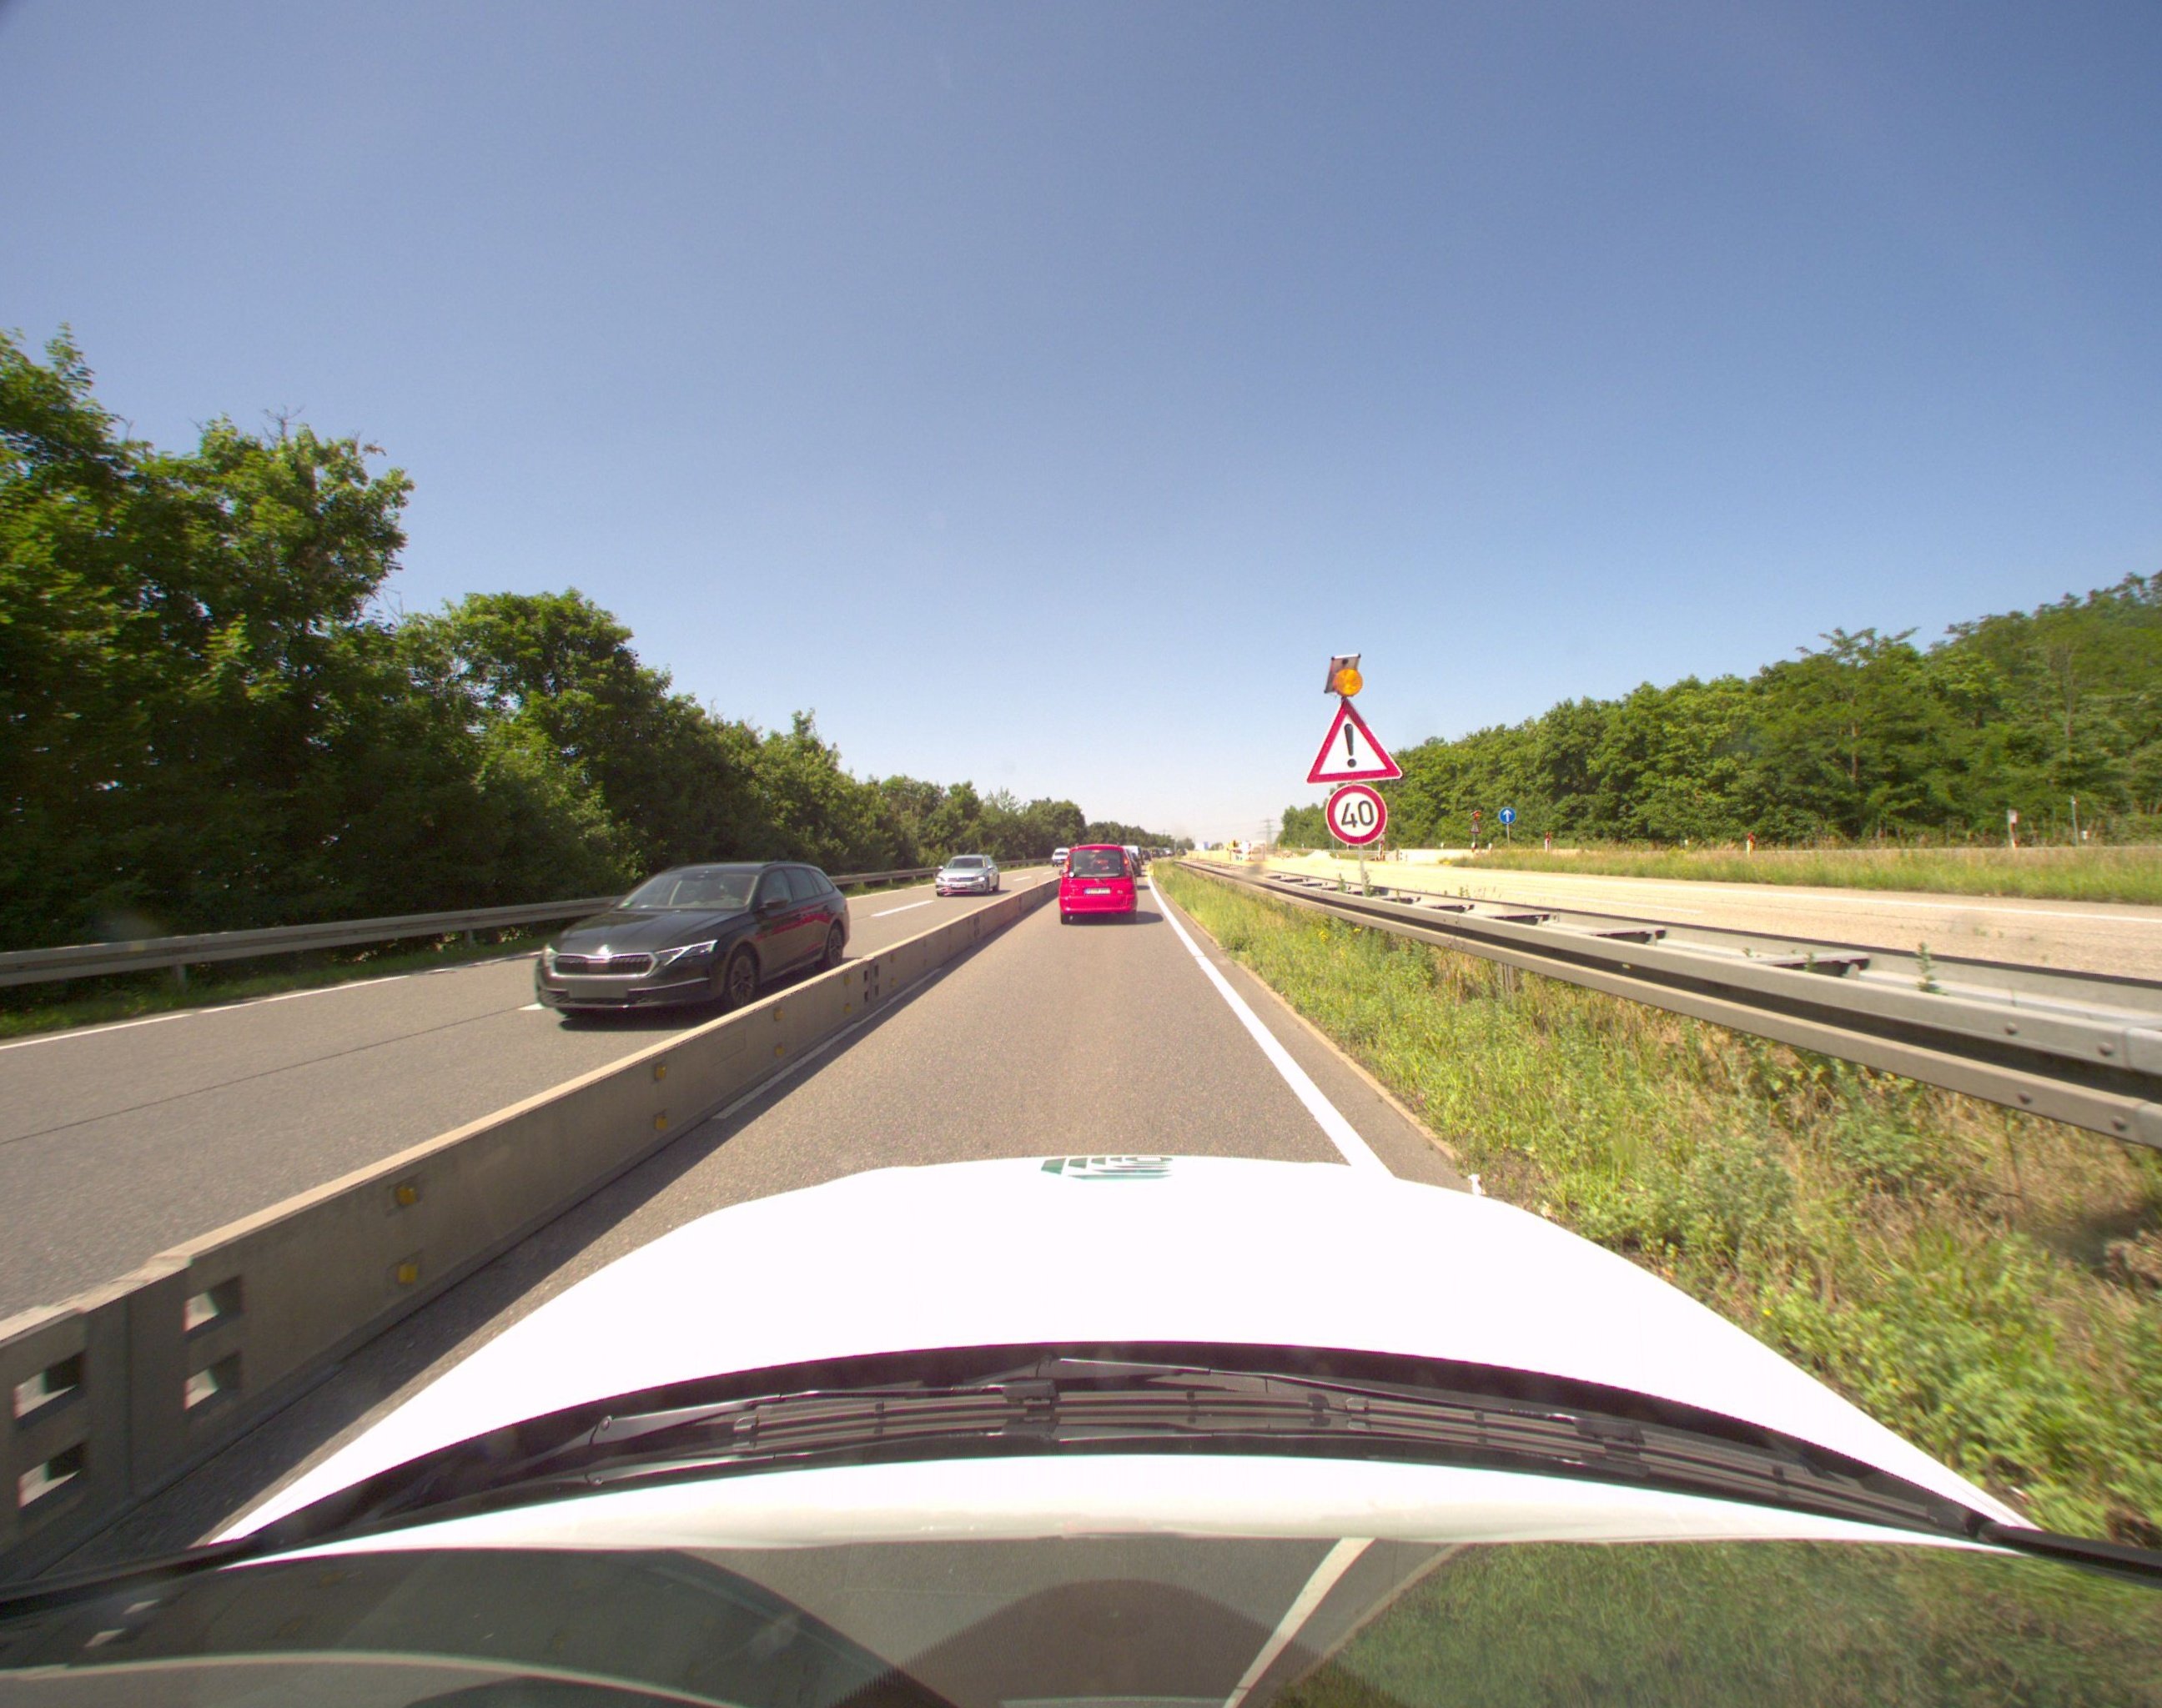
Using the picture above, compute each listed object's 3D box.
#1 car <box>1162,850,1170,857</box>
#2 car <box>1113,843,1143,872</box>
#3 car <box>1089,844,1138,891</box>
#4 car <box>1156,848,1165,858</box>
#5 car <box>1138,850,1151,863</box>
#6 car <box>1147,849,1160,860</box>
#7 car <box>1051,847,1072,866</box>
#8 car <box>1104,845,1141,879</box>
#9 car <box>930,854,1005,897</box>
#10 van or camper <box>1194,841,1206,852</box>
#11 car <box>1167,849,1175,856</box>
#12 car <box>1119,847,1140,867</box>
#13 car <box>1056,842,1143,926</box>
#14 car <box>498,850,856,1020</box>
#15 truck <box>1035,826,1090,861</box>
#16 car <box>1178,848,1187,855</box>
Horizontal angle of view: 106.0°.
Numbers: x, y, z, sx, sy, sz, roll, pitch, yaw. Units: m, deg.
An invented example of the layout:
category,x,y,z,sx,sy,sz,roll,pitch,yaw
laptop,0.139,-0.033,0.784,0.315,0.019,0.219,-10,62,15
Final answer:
category,x,y,z,sx,sy,sz,roll,pitch,yaw
car,16.195,-0.052,155.265,1.414,1.298,2.884,-2,0,6
car,3.411,0.241,59.427,1.986,2.003,4.001,-1,0,1
car,1.359,0.509,32.619,1.822,1.722,4.004,-1,0,4
car,13.649,-0.185,139.869,1.495,1.736,3.174,-2,0,4
car,7.702,0.298,99.410,1.495,1.450,3.328,-1,0,4
car,11.084,0.034,124.569,1.984,1.585,4.006,-1,0,5
car,-1.924,0.277,80.924,1.749,1.765,4.286,-3,0,2
car,2.425,0.413,46.977,1.985,1.838,4.004,-1,0,4
car,-4.126,0.741,30.335,1.941,1.421,4.356,-2,0,3
van or camper,31.469,-1.927,215.522,2.319,2.707,4.595,-2,0,2
car,18.960,-0.291,171.307,1.494,1.450,3.175,-2,0,6
car,4.632,0.276,77.943,1.985,1.750,4.003,-2,0,3
car,0.455,0.606,18.552,1.745,1.673,4.002,-1,0,2
car,-4.170,0.707,9.334,1.815,1.482,4.259,-1,0,2
truck,-3.080,-1.759,136.328,8.579,5.375,3.394,-3,0,5
car,24.206,-0.628,194.655,1.985,1.552,4.004,-1,0,4
